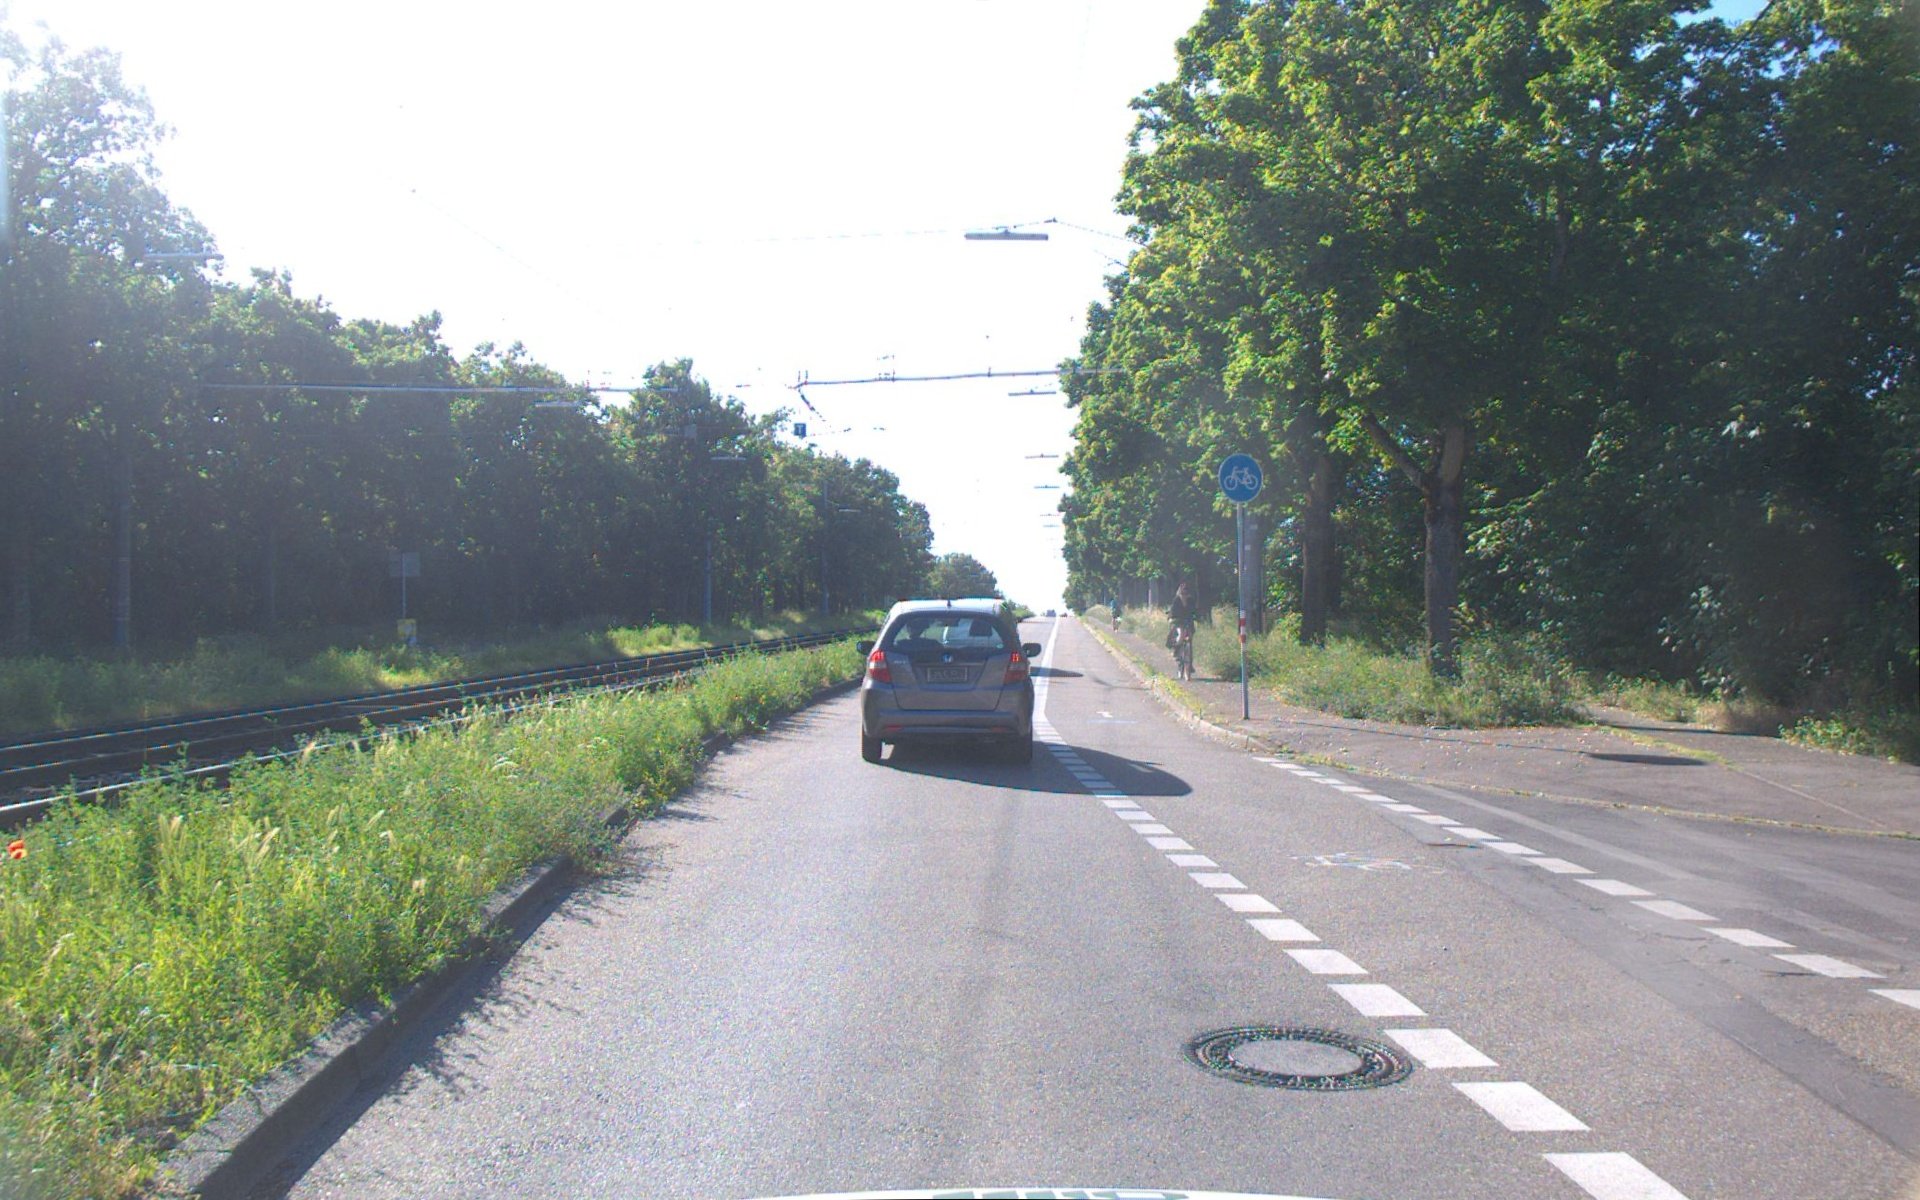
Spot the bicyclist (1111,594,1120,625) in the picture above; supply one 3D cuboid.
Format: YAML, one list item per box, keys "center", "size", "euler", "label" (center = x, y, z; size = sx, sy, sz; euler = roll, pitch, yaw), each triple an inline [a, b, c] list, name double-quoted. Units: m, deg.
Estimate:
- center: [7.487, 0.456, 79.781]
  size: [0.397, 1.533, 0.575]
  euler: [0, 0, 3]
  label: "bicyclist"

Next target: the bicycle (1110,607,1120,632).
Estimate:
- center: [7.417, 0.919, 79.366]
  size: [0.409, 1.209, 1.722]
  euler: [0, 0, 3]
  label: "bicycle"

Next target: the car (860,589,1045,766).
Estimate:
- center: [-0.075, 0.693, 16.877]
  size: [1.636, 1.542, 3.673]
  euler: [2, 0, 0]
  label: "car"

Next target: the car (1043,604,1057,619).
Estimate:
- center: [14.094, 1.773, 258.833]
  size: [1.952, 2.048, 4.002]
  euler: [-5, -1, 4]
  label: "car"

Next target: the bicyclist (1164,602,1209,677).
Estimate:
- center: [4.287, 0.741, 31.393]
  size: [0.740, 1.392, 0.806]
  euler: [-1, 0, 2]
  label: "bicyclist"

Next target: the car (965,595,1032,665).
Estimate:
- center: [0.864, 0.713, 38.435]
  size: [1.324, 1.554, 3.121]
  euler: [0, -1, -3]
  label: "car"

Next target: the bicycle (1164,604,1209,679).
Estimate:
- center: [4.258, 0.755, 31.219]
  size: [0.606, 1.210, 2.508]
  euler: [-4, 2, 4]
  label: "bicycle"
